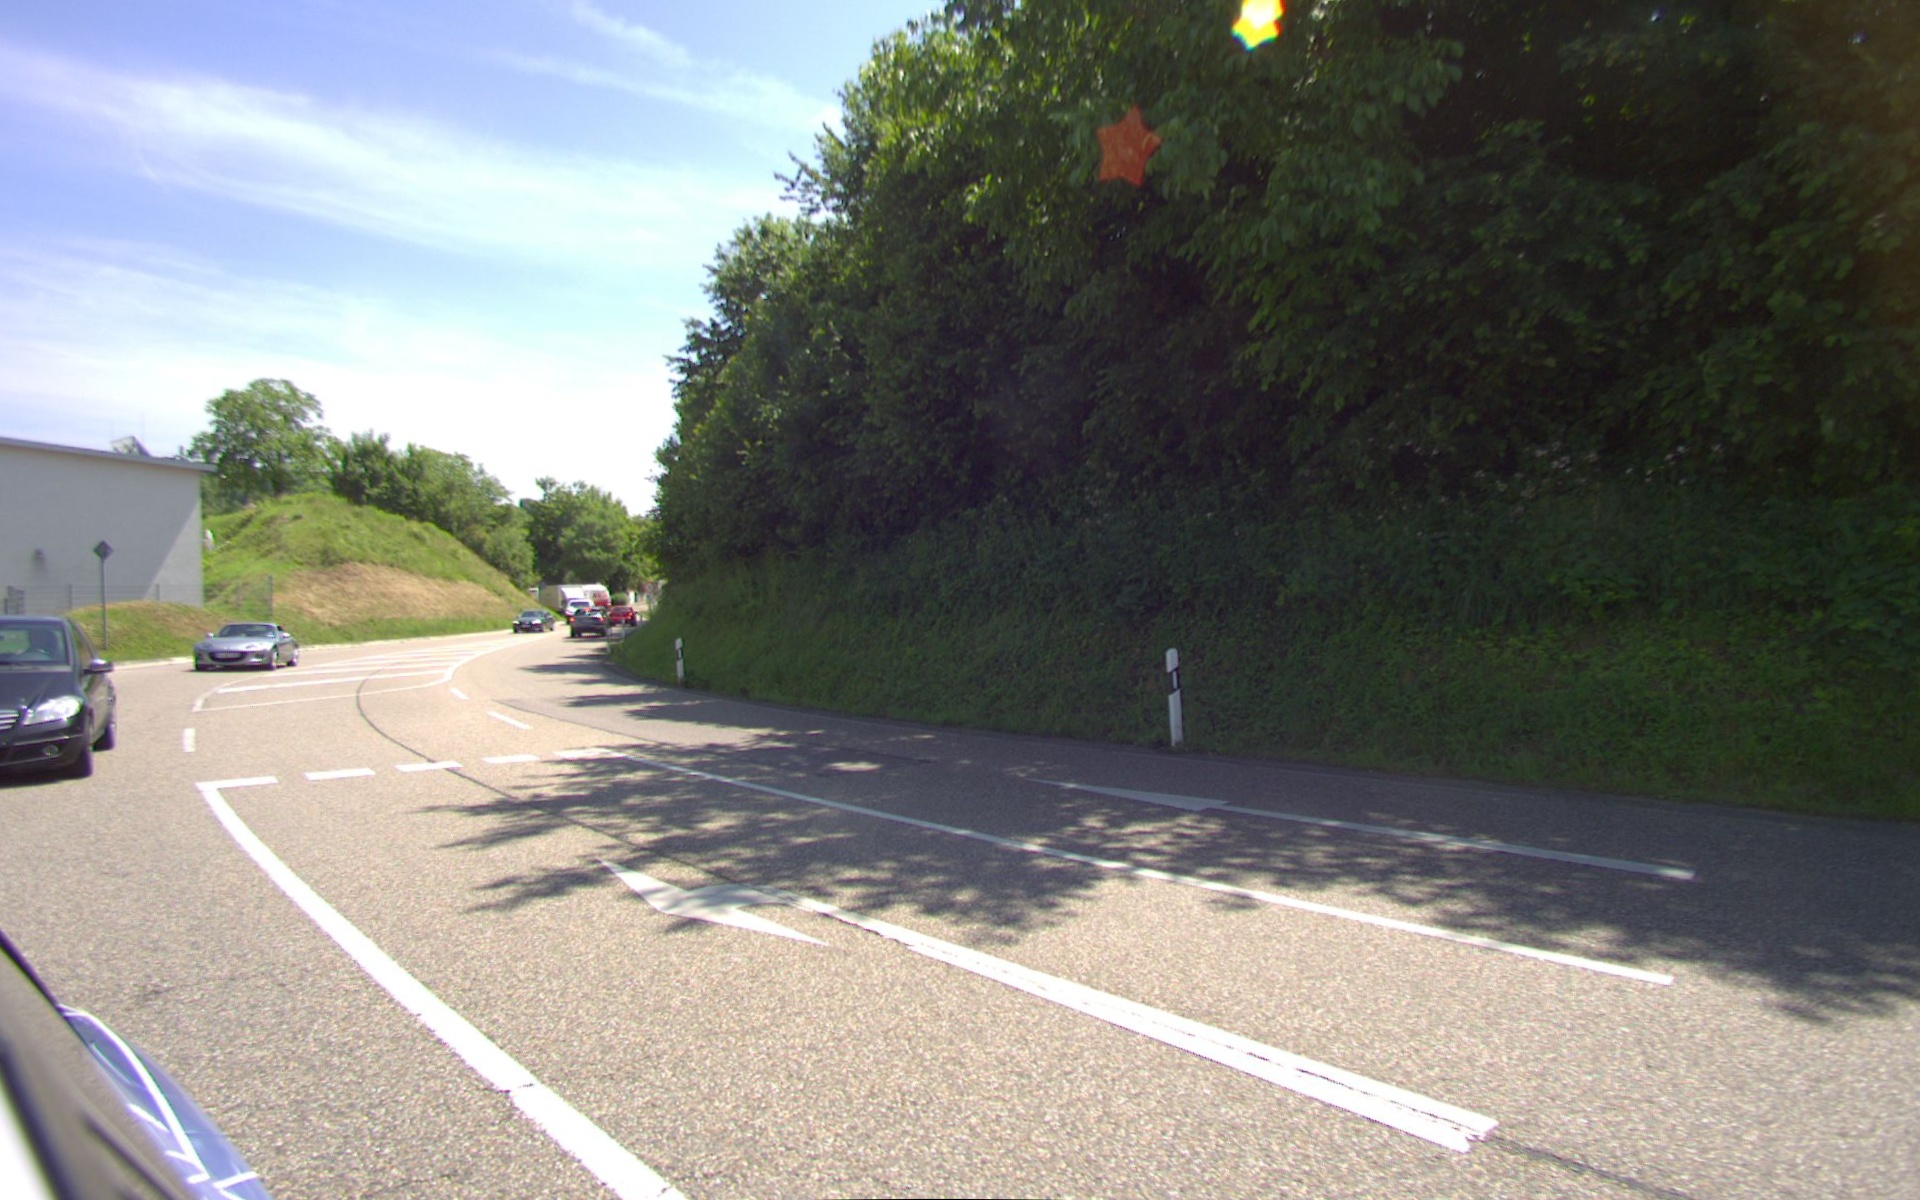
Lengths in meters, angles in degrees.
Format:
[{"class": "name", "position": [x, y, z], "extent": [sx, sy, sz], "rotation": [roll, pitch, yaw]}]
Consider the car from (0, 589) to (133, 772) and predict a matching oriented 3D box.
[{"class": "car", "position": [-9.693, 0.732, 10.180], "extent": [1.767, 1.591, 3.809], "rotation": [1, -1, -34]}]

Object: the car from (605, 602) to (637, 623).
[{"class": "car", "position": [-23.974, 0.896, 71.629], "extent": [1.726, 1.459, 4.010], "rotation": [1, -1, -13]}]

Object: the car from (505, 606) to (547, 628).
[{"class": "car", "position": [-26.739, 1.051, 62.437], "extent": [1.727, 1.298, 4.156], "rotation": [1, -1, -14]}]

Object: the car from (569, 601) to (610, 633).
[{"class": "car", "position": [-19.612, 0.866, 53.704], "extent": [1.766, 1.617, 4.192], "rotation": [0, 0, -17]}]

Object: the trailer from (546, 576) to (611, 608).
[{"class": "trailer", "position": [-42.887, -0.868, 113.551], "extent": [2.602, 3.398, 11.152], "rotation": [-1, 1, -44]}]

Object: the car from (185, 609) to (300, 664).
[{"class": "car", "position": [-18.757, 0.909, 26.620], "extent": [1.620, 1.332, 3.449], "rotation": [1, -1, -21]}]

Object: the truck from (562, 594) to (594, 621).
[{"class": "truck", "position": [-30.052, 0.553, 79.798], "extent": [2.037, 2.028, 5.261], "rotation": [-1, 0, -17]}]
